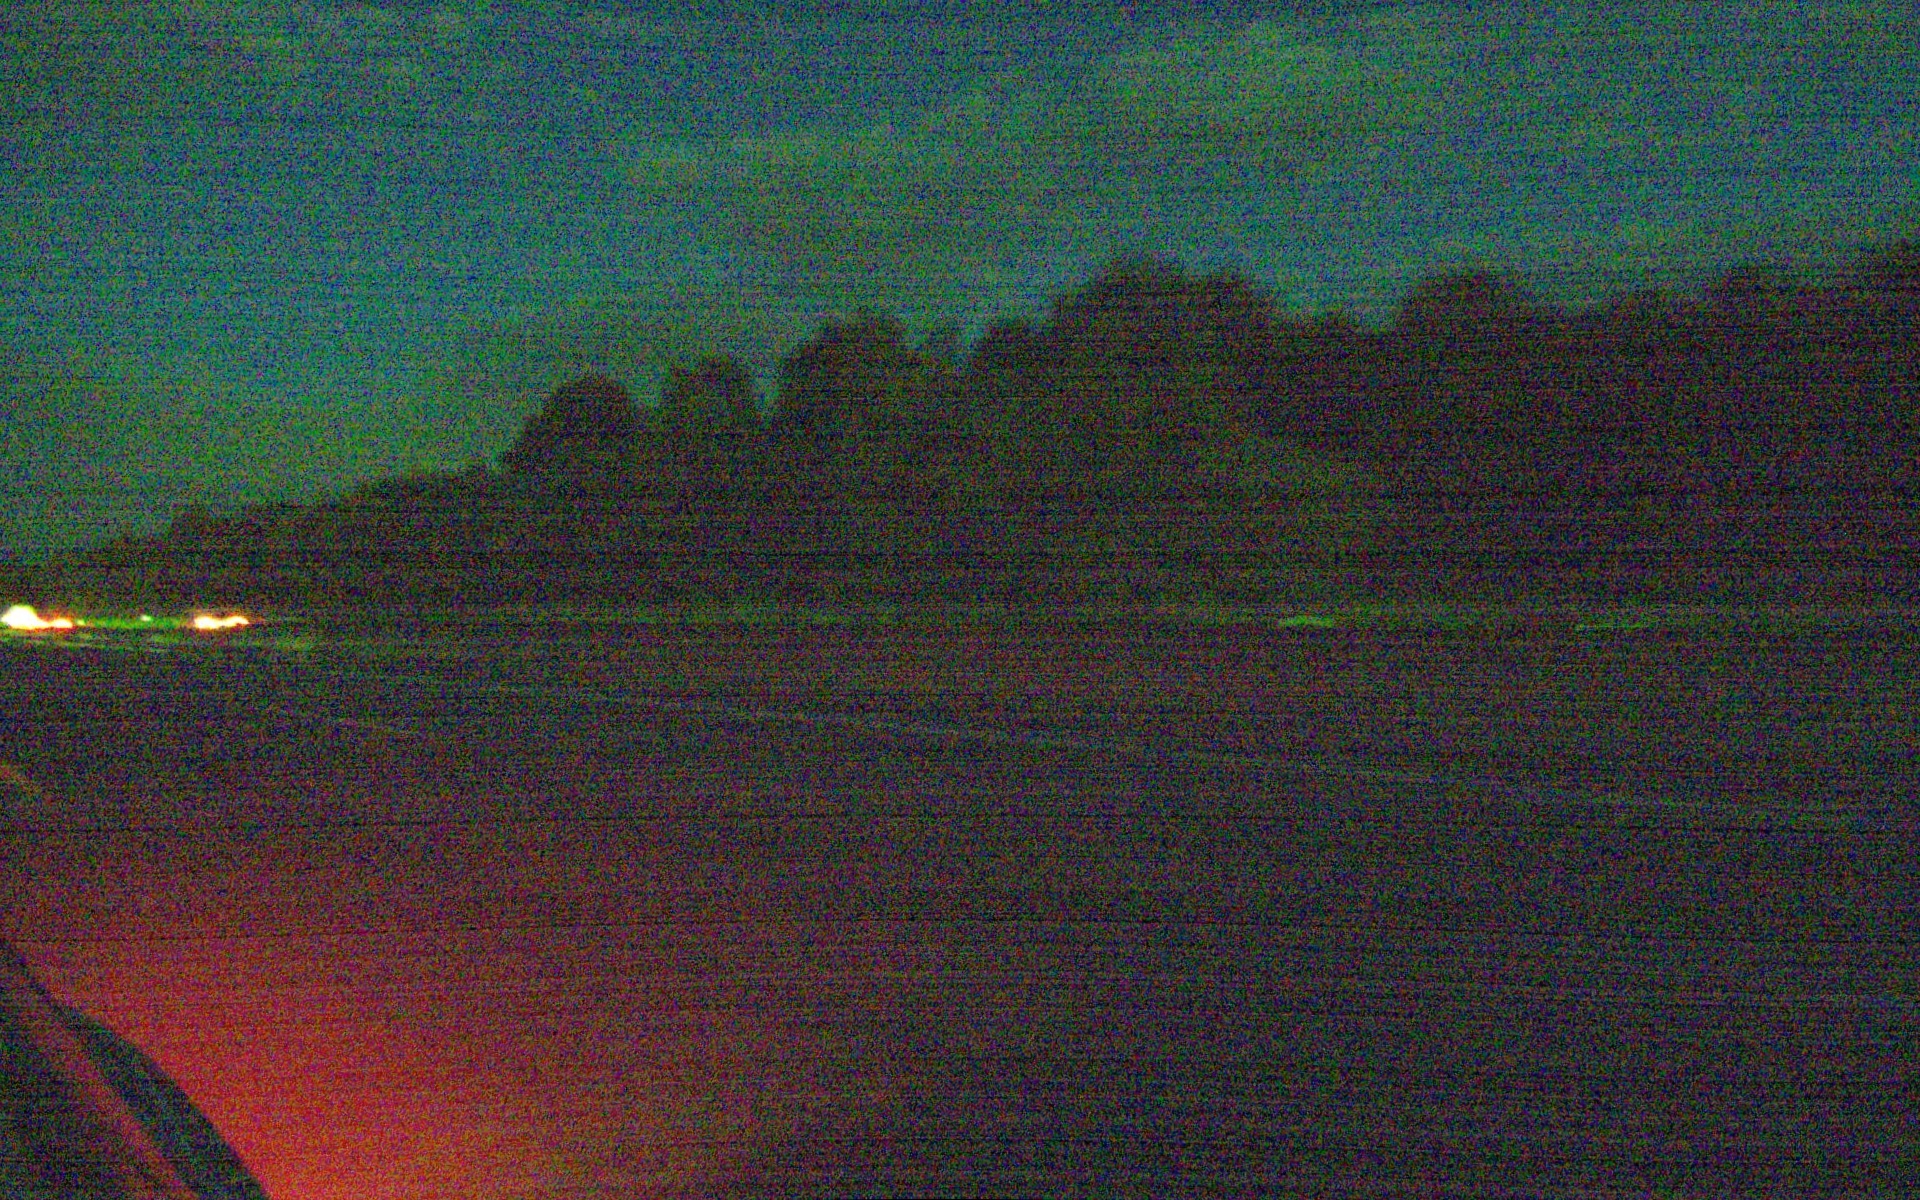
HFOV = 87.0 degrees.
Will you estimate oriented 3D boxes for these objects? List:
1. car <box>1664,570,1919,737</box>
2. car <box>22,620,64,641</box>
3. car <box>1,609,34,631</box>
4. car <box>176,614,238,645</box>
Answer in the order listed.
[{"bbox_3d":[9.929,0.534,10.885,3.739,1.658,1.728,-1,0,40],"label":"car"},{"bbox_3d":[-70.376,2.282,77.625,4.271,1.516,1.883,-1,0,41],"label":"car"},{"bbox_3d":[-111.548,2.334,119.777,6.235,2.506,2.061,-1,0,39],"label":"car"},{"bbox_3d":[-47.582,1.815,63.906,5.683,1.835,1.973,-1,0,40],"label":"car"}]
